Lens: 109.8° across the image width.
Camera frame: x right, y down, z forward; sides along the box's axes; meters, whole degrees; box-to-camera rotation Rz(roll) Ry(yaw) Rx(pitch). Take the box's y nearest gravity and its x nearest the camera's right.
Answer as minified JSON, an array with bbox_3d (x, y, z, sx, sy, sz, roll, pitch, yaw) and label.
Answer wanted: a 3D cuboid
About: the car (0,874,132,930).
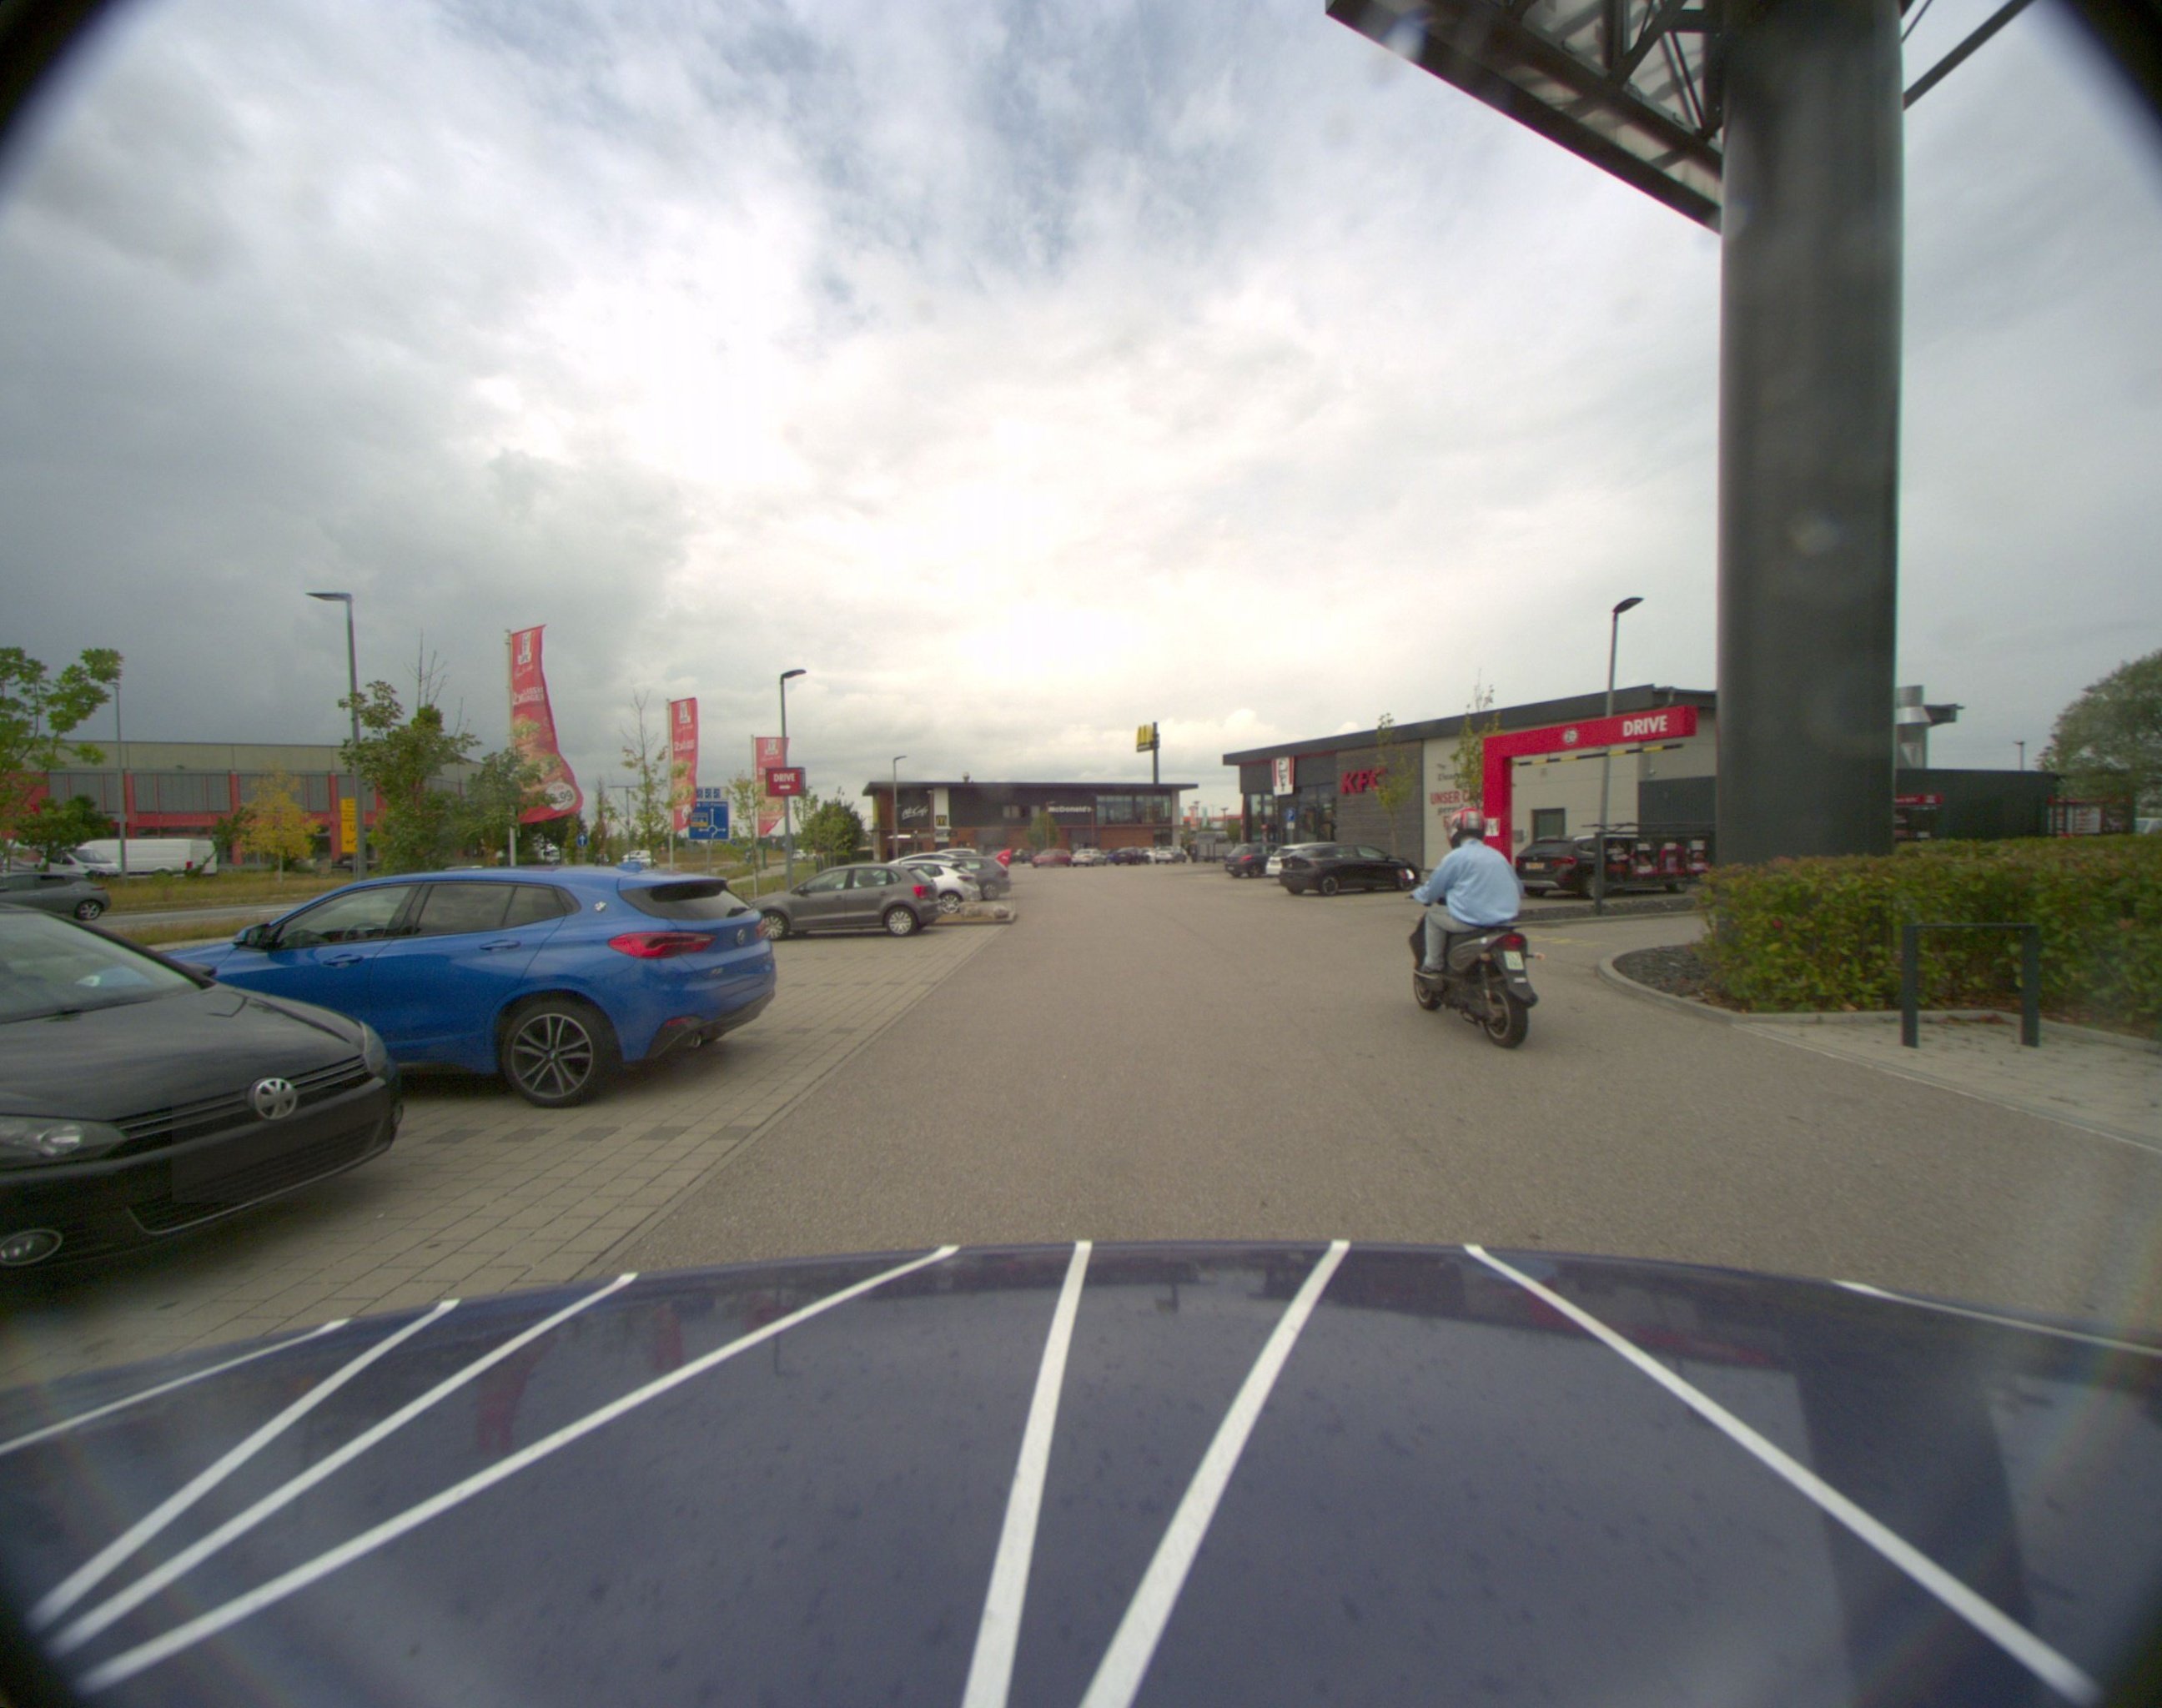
[{"bbox_3d":[-30.683,1.368,21.853,1.754,1.482,4.128,-1,0,-5],"label":"car"}]

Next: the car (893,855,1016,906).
[{"bbox_3d":[-4.099,0.844,25.066,3.807,1.404,1.737,-3,1,-6],"label":"car"}]

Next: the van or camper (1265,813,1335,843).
[{"bbox_3d":[22.467,-2.634,78.010,6.556,2.685,2.176,-2,0,29],"label":"van or camper"}]

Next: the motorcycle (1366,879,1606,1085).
[{"bbox_3d":[2.961,0.856,5.834,0.794,1.201,1.921,-2,1,0],"label":"motorcycle"}]

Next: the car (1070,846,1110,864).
[{"bbox_3d":[0.796,0.060,61.179,1.749,1.404,4.466,-1,0,21],"label":"car"}]

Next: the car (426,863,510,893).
[{"bbox_3d":[-33.295,1.278,41.414,1.755,1.482,4.126,-1,0,-10],"label":"car"}]

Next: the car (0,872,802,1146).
[{"bbox_3d":[-4.525,0.986,5.554,4.212,1.535,1.865,-1,1,2],"label":"car"}]

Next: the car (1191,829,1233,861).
[{"bbox_3d":[11.085,-0.721,63.969,2.068,2.538,7.023,-1,0,21],"label":"car"}]

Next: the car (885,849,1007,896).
[{"bbox_3d":[-5.300,0.705,30.233,4.545,1.532,1.924,-3,1,-8],"label":"car"}]

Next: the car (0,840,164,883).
[{"bbox_3d":[-53.044,0.378,39.803,6.063,2.201,2.412,0,0,-17],"label":"car"}]

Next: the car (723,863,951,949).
[{"bbox_3d":[-4.805,1.007,15.373,3.997,1.420,1.727,-3,1,-1],"label":"car"}]

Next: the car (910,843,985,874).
[{"bbox_3d":[-8.347,0.261,47.491,4.374,1.703,1.989,-3,1,-14],"label":"car"}]

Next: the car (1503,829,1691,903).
[{"bbox_3d":[12.643,0.247,18.664,4.003,1.587,1.733,-2,2,-18],"label":"car"}]

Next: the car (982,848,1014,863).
[{"bbox_3d":[-8.858,0.125,81.425,1.746,1.575,3.911,1,1,22],"label":"car"}]

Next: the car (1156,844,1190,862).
[{"bbox_3d":[7.861,-0.114,64.454,1.683,1.443,4.007,-1,0,25],"label":"car"}]

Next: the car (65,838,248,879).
[{"bbox_3d":[-53.895,0.248,44.521,6.511,2.255,2.341,0,1,-19],"label":"car"}]

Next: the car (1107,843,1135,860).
[{"bbox_3d":[4.588,-0.338,85.724,1.894,1.653,4.264,1,3,22],"label":"car"}]

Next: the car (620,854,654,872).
[{"bbox_3d":[-44.095,0.868,75.567,2.001,1.696,3.993,0,2,-17],"label":"car"}]

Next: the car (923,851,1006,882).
[{"bbox_3d":[-6.188,0.629,40.161,4.072,1.404,1.886,-3,1,-14],"label":"car"}]

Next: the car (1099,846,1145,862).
[{"bbox_3d":[3.905,-0.007,72.080,3.989,1.501,1.772,1,1,26],"label":"car"}]

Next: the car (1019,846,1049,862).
[{"bbox_3d":[-5.101,-0.003,83.080,1.996,1.739,4.006,1,0,18],"label":"car"}]

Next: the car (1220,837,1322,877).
[{"bbox_3d":[8.344,0.119,33.370,3.942,1.478,1.756,-3,1,-17],"label":"car"}]

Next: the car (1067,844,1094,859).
[{"bbox_3d":[-0.088,-0.325,88.611,1.754,1.743,3.992,0,1,-21],"label":"car"}]

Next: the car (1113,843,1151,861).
[{"bbox_3d":[4.262,-0.176,62.801,1.683,1.454,4.414,-1,0,24],"label":"car"}]

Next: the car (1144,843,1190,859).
[{"bbox_3d":[8.299,-0.241,73.241,4.102,1.458,1.783,-1,-1,22],"label":"car"}]

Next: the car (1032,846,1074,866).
[{"bbox_3d":[-2.173,0.150,60.790,1.683,1.455,4.007,-1,0,25],"label":"car"}]

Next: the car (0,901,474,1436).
[{"bbox_3d":[-5.112,0.992,3.011,4.070,1.451,1.776,-1,0,4],"label":"car"}]

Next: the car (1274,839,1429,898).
[{"bbox_3d":[8.026,0.385,22.614,4.126,1.520,1.738,-2,2,-18],"label":"car"}]

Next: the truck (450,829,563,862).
[{"bbox_3d":[-79.478,-1.177,105.424,12.002,4.473,3.762,0,1,-12],"label":"truck"}]

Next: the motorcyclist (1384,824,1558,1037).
[{"bbox_3d":[2.939,0.531,5.832,0.830,1.480,0.941,-2,2,1],"label":"motorcyclist"}]

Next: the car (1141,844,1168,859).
[{"bbox_3d":[8.521,-0.335,87.557,1.786,1.478,4.005,1,3,26],"label":"car"}]

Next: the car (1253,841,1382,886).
[{"bbox_3d":[8.790,0.328,28.346,4.182,1.477,1.997,-2,1,-17],"label":"car"}]

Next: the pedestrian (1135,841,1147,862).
[{"bbox_3d":[4.757,-0.193,60.603,0.748,1.668,0.844,0,1,19],"label":"pedestrian"}]

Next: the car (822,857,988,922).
[{"bbox_3d":[-4.566,0.895,20.168,3.937,1.404,1.839,-3,1,-2],"label":"car"}]
